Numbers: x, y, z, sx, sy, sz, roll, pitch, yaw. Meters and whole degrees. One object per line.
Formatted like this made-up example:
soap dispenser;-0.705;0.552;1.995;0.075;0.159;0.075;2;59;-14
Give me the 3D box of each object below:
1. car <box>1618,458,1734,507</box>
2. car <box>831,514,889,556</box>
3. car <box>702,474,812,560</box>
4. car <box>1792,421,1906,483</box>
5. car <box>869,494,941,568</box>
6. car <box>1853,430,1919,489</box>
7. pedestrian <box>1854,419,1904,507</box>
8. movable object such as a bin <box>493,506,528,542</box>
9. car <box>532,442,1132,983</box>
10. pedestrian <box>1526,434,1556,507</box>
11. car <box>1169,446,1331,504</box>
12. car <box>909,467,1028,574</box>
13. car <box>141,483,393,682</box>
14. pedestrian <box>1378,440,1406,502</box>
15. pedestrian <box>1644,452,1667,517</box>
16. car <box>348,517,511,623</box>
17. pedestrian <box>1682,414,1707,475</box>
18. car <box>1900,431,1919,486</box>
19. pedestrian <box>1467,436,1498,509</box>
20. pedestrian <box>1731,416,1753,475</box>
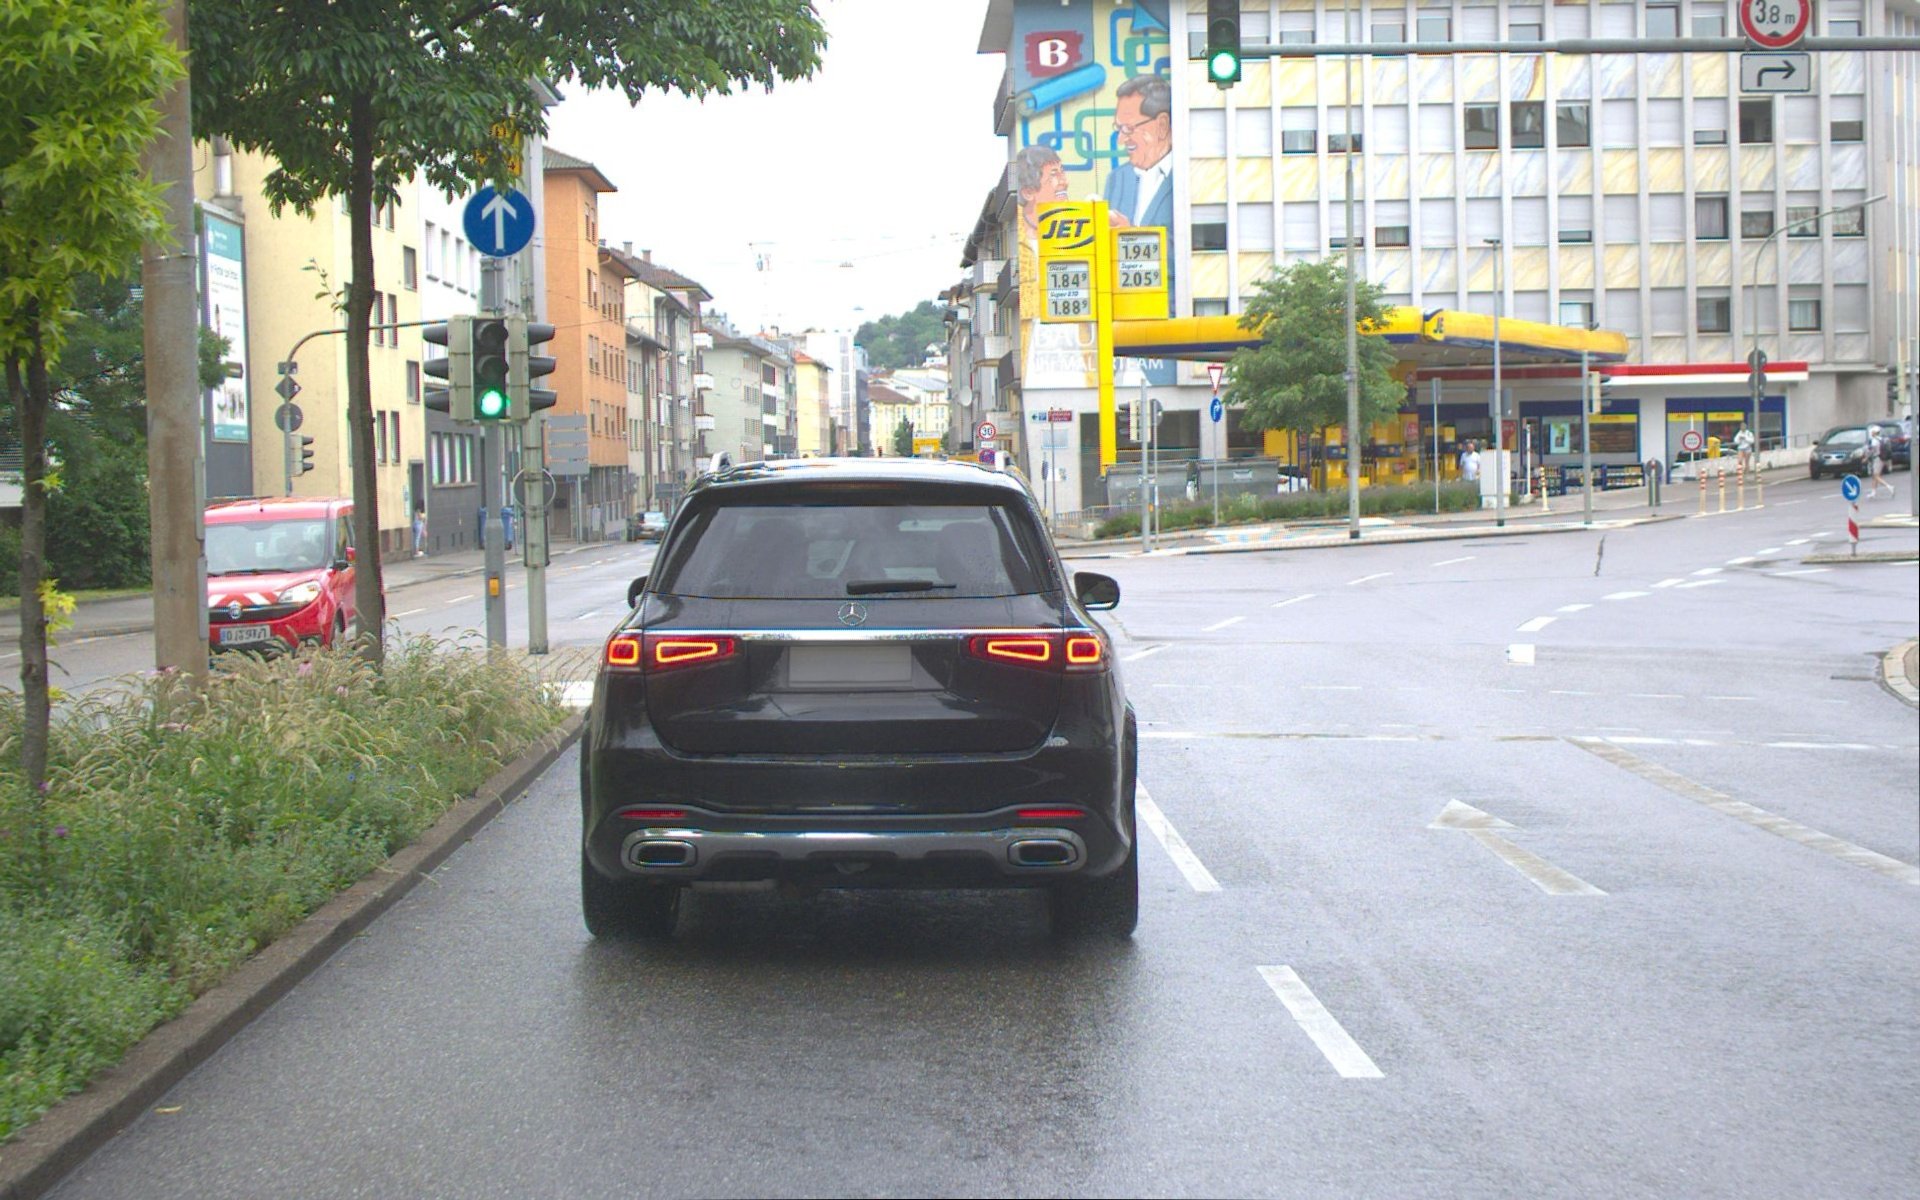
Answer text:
car;22.663;-3.699;108.795;1.998;1.393;3.991;1;0;38
car;-3.943;-2.562;135.982;1.993;1.542;4.189;1;0;2
car;-3.999;-1.629;68.459;1.993;1.609;4.190;1;0;-1
car;25.755;-4.281;99.530;1.997;1.700;3.993;-1;2;33
car;-1.588;-1.946;98.209;1.993;2.007;4.000;1;0;-2
car;28.631;-4.259;103.797;1.997;1.700;3.993;-1;2;33
pedestrian;22.481;-3.350;84.135;0.854;2.121;0.948;-2;1;-6
movable object such as a bin;-13.338;-2.245;102.056;0.910;1.034;0.844;1;0;1
car;-0.451;0.370;13.561;1.993;1.794;4.000;1;0;-1
pedestrian;13.672;-3.055;80.930;0.572;1.692;0.631;1;0;1
car;7.524;-3.254;89.427;1.732;1.371;3.998;-3;2;-44
car;0.122;-1.370;60.580;1.993;1.794;4.000;1;0;-1
car;-7.167;-0.212;36.003;1.792;1.847;4.793;-3;1;-3
pedestrian;12.133;-3.634;96.579;0.527;1.721;0.688;0;2;29
pedestrian;15.040;-2.499;74.317;0.396;1.395;0.446;1;0;1
car;-8.135;-0.499;53.075;1.846;1.424;4.435;-3;2;-1
pedestrian;20.860;-4.417;97.673;0.526;1.721;0.688;0;2;27
car;31.180;-4.471;108.007;1.997;1.700;3.993;-1;2;33
pedestrian;12.558;-3.062;82.593;0.526;1.721;0.688;0;2;27
pedestrian;22.235;-4.388;97.712;0.484;1.635;0.438;1;0;28
